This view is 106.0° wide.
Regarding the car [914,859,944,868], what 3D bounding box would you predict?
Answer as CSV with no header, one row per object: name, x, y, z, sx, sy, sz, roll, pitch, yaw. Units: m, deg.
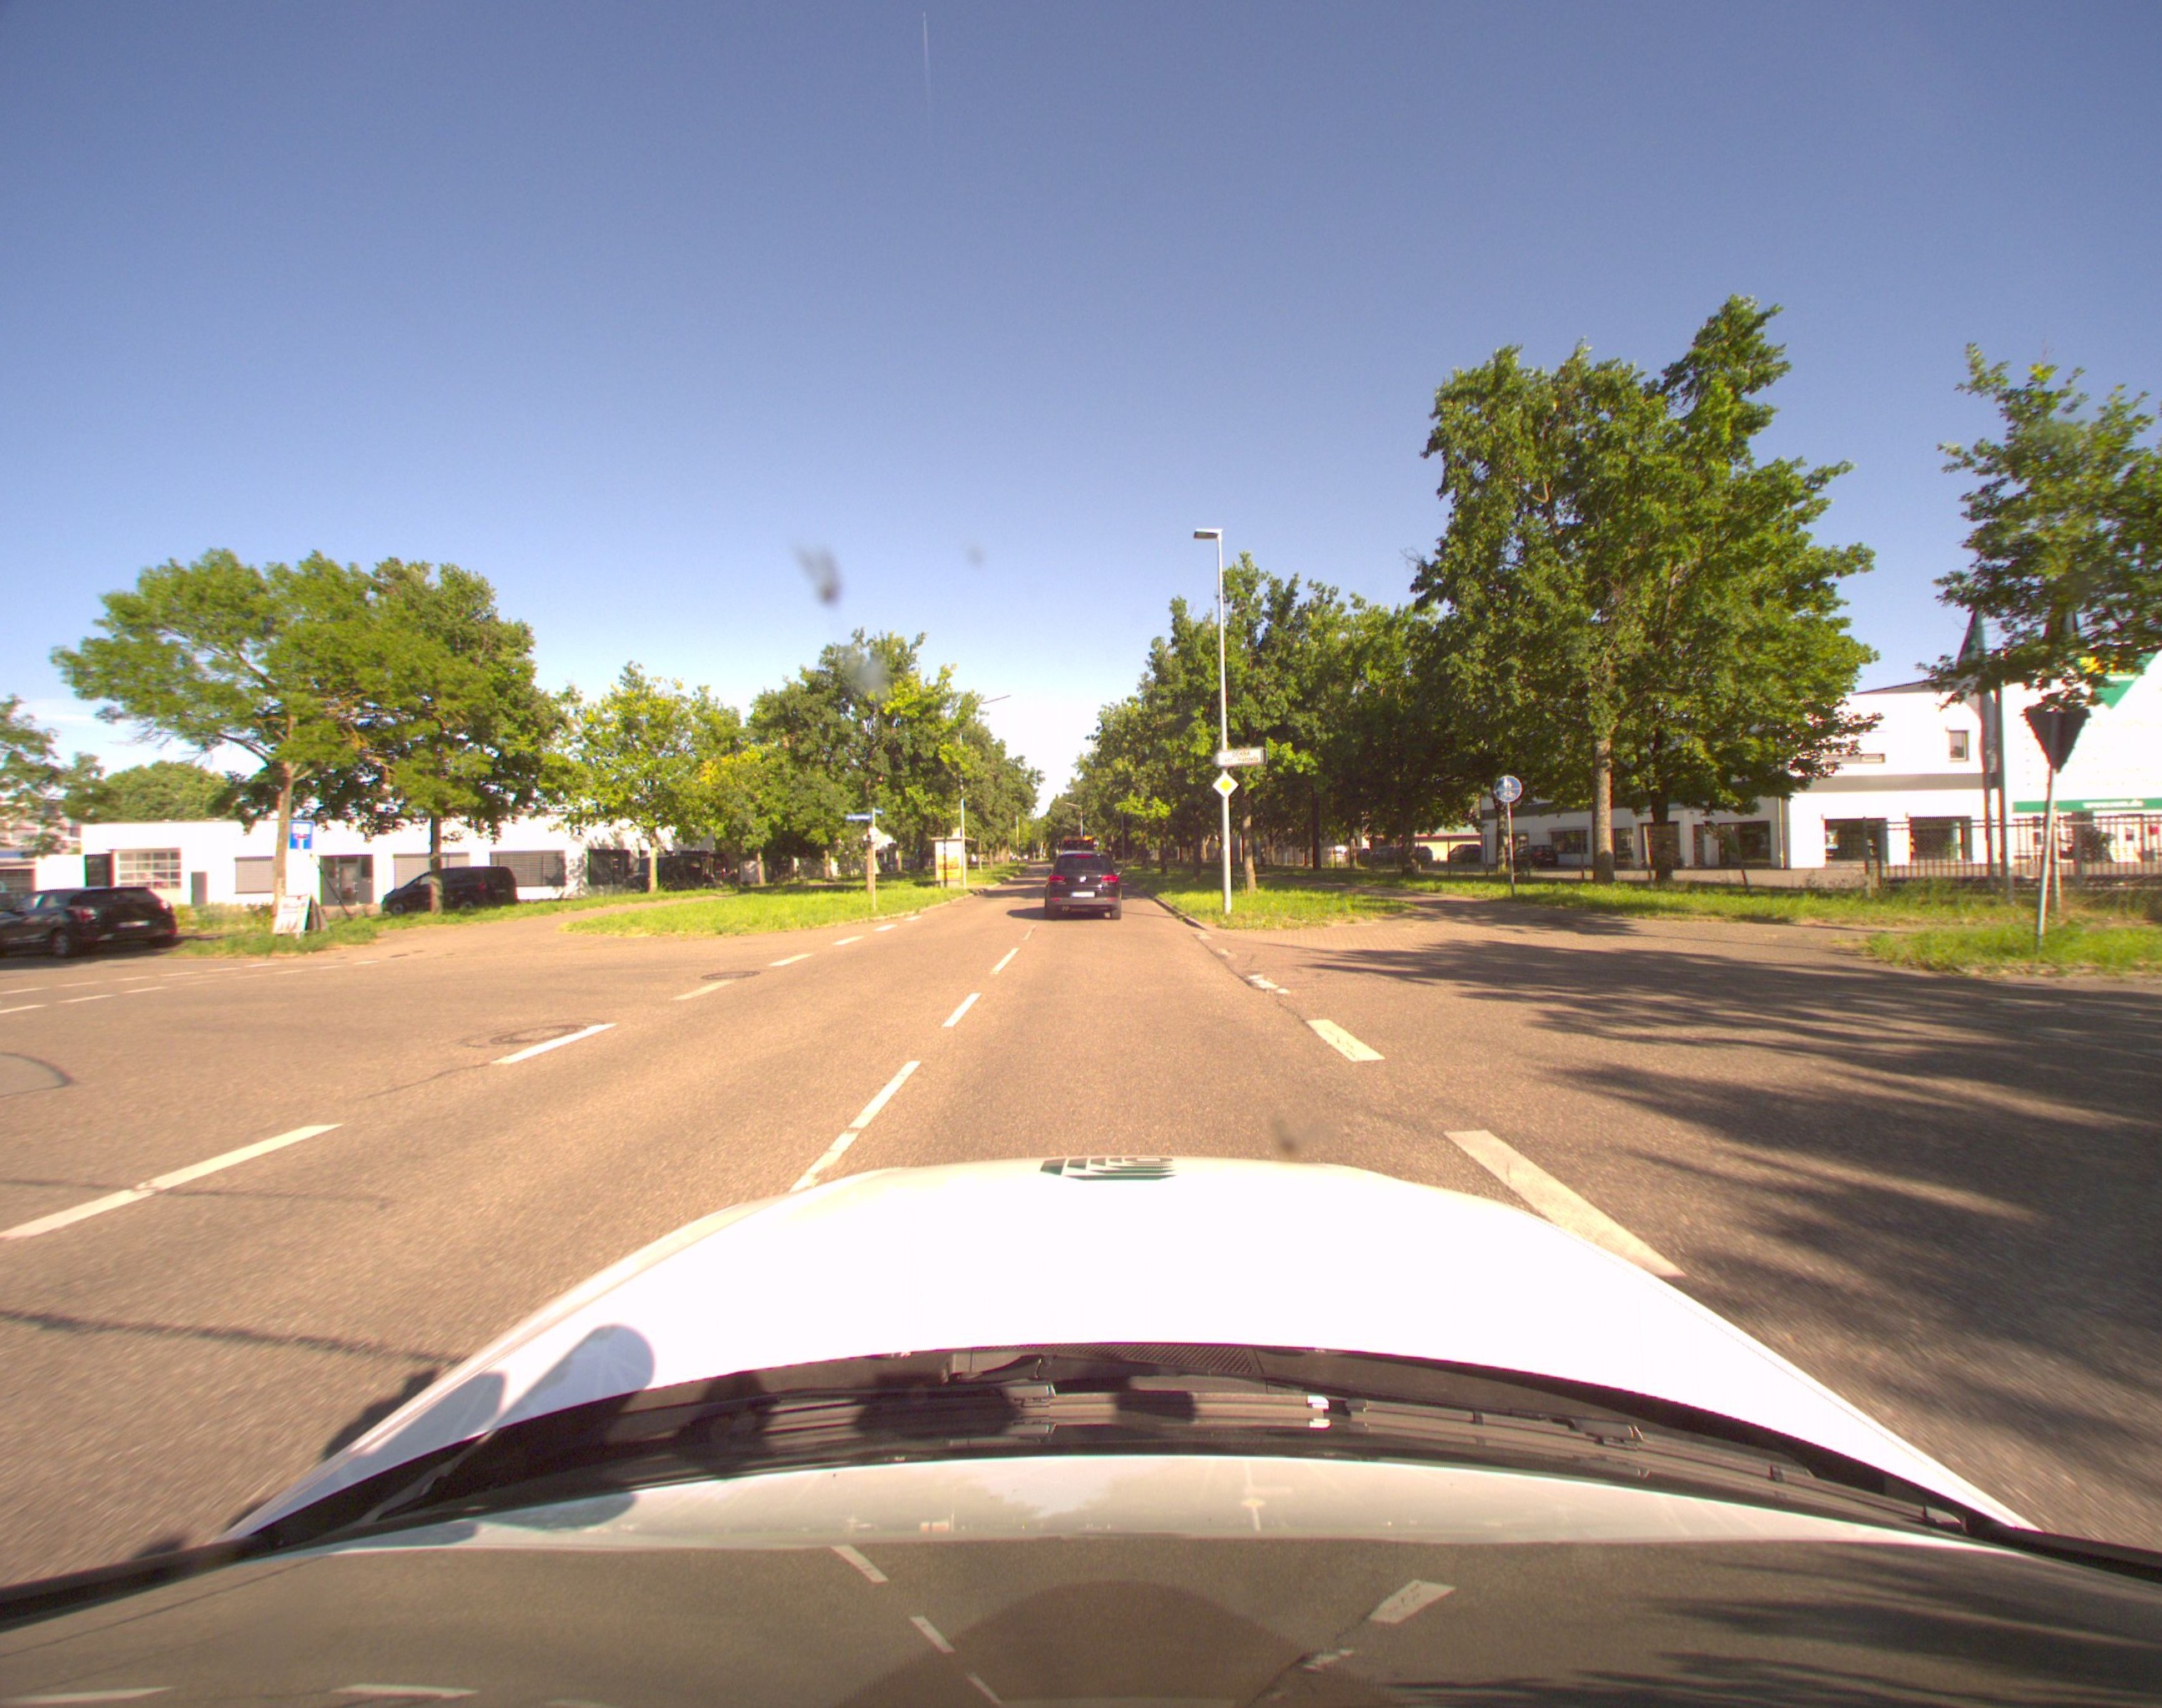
car,-23.515,1.443,126.209,4.179,1.321,1.943,-2,0,4

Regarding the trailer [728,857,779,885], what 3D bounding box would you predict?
trailer,-23.782,1.225,59.299,2.095,1.914,3.741,-1,0,1

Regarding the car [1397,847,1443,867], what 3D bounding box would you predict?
car,31.270,0.243,75.247,2.179,1.744,4.637,-1,0,-2

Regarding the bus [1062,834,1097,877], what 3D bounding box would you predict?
bus,-0.175,0.116,71.890,2.756,3.456,11.208,-1,0,0

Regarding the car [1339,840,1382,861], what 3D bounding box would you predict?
car,25.578,-0.312,74.769,2.179,1.744,4.637,-1,0,-2

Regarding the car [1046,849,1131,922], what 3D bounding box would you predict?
car,0.132,0.708,20.755,1.930,1.656,4.425,0,0,-1

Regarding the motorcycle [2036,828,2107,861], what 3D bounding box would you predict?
motorcycle,44.503,-0.417,36.609,1.970,1.433,0.660,-1,0,15

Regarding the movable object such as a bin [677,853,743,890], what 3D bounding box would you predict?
movable object such as a bin,-23.675,1.069,52.165,2.095,2.217,4.461,-1,0,1

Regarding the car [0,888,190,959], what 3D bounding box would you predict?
car,-24.253,1.683,19.941,3.641,1.532,1.830,-2,0,16

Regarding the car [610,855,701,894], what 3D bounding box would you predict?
car,-23.763,1.101,45.788,2.029,1.988,5.805,-2,0,0

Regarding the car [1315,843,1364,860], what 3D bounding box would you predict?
car,28.012,-0.292,88.391,4.622,1.744,2.186,-2,0,-7

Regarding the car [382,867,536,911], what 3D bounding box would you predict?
car,-23.543,1.318,30.899,4.477,1.479,1.945,-2,0,6

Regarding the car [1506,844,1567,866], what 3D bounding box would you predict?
car,29.722,0.051,53.252,1.761,1.383,3.764,-1,0,-3

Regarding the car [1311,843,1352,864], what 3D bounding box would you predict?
car,22.959,-0.042,74.767,2.179,1.744,4.637,-1,0,-2

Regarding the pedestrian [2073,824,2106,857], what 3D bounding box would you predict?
pedestrian,44.761,-0.577,36.134,0.750,1.433,0.715,-1,0,-22
